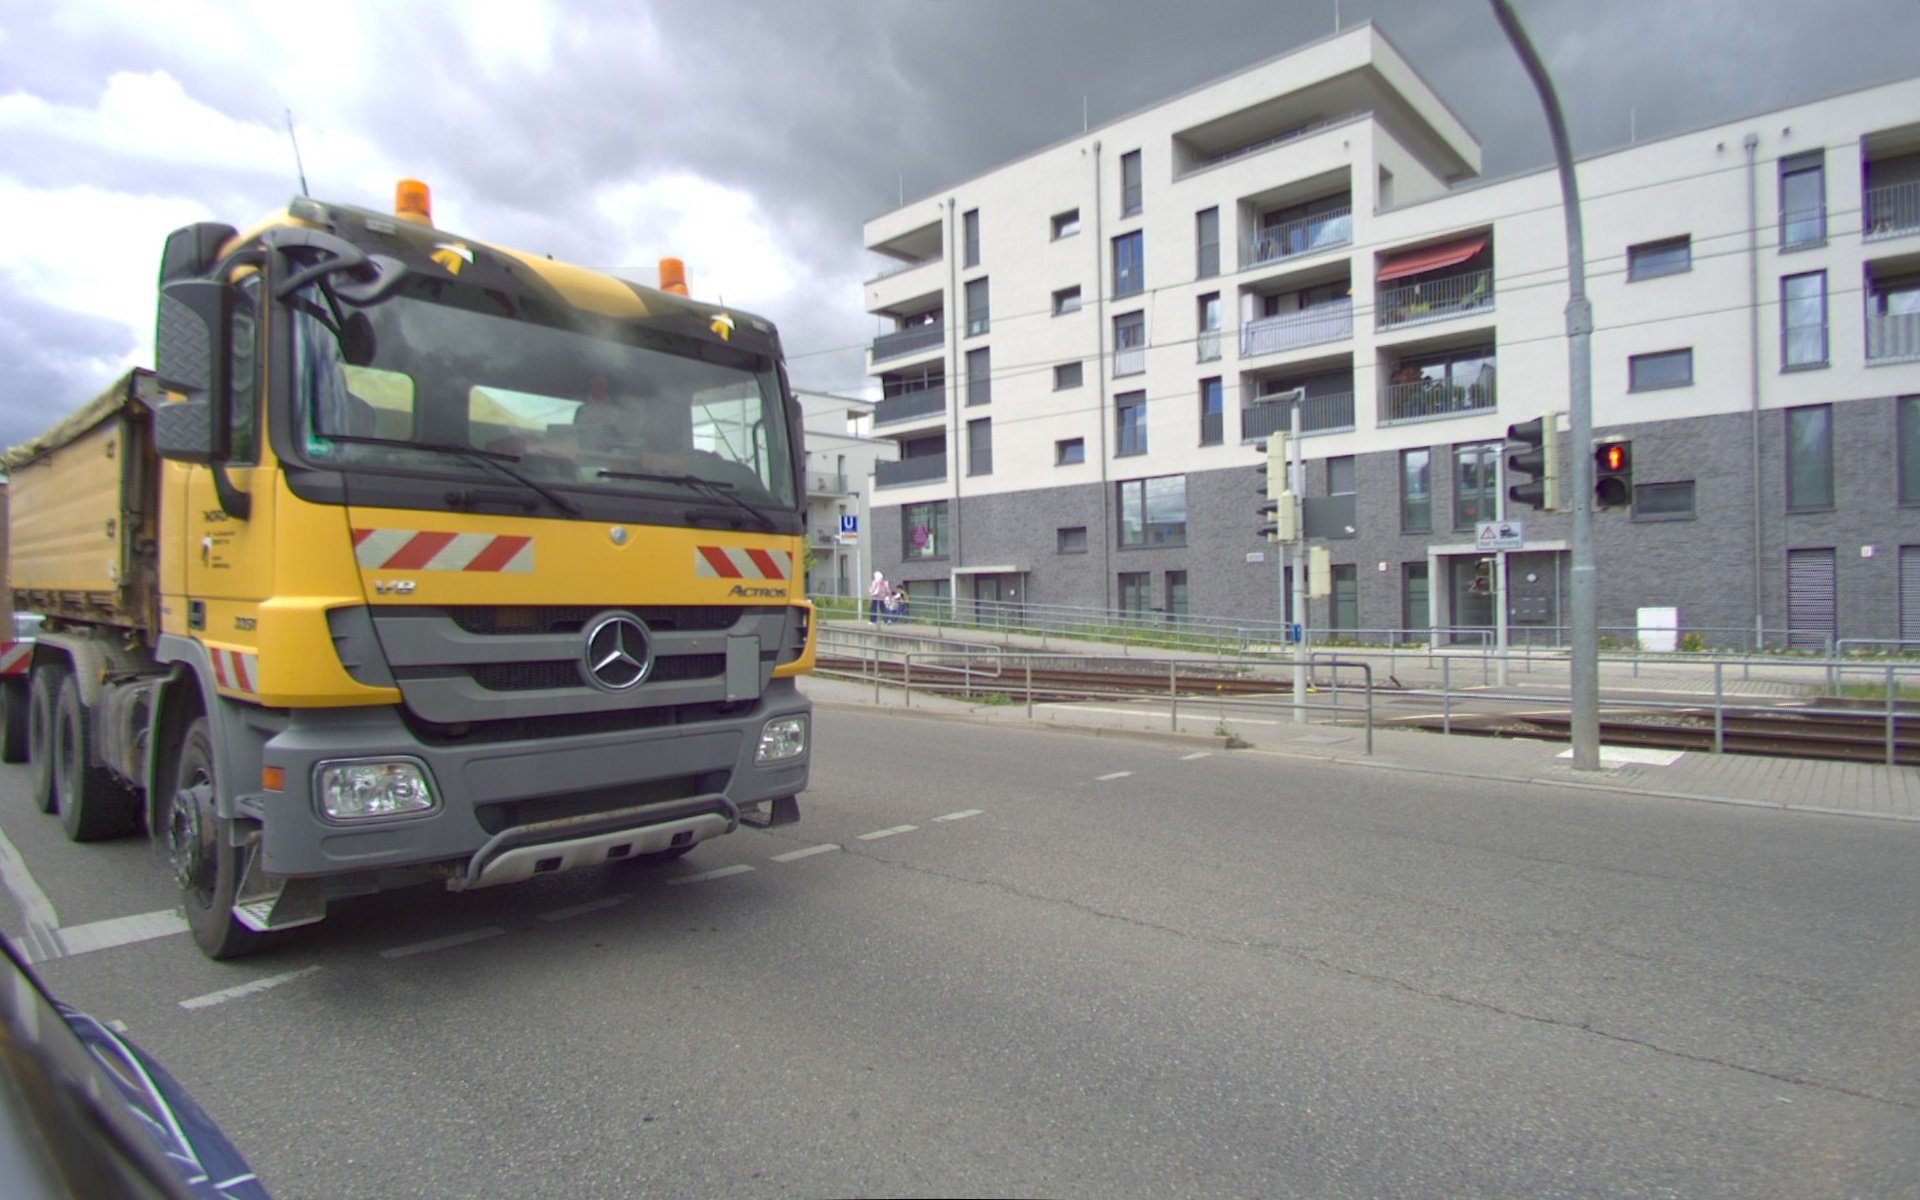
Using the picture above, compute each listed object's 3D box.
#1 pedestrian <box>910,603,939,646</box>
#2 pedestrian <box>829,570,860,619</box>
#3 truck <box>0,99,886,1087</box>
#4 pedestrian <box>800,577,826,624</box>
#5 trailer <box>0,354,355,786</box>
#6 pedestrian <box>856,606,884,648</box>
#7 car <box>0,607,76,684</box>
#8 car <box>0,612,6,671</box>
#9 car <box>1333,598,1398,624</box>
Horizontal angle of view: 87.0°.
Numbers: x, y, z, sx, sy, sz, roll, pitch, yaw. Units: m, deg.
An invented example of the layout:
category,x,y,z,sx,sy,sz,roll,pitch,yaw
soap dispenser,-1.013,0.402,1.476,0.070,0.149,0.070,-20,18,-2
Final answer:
category,x,y,z,sx,sy,sz,roll,pitch,yaw
pedestrian,-1.201,0.819,34.201,0.670,1.420,0.706,-1,-1,42
pedestrian,-4.028,-0.181,35.271,0.765,1.700,0.706,-1,-1,42
truck,-4.169,-0.035,6.703,7.776,3.026,2.691,0,0,42
pedestrian,-6.344,0.032,43.764,0.670,2.029,0.900,-1,-1,41
trailer,-11.118,-0.202,12.900,10.910,3.548,2.678,-1,0,42
pedestrian,-3.091,0.909,34.733,0.670,1.420,0.706,-1,-1,42
car,-20.521,0.928,21.900,4.000,1.490,1.670,0,1,43
car,-26.538,1.081,26.752,4.000,1.490,1.670,0,1,43
car,23.710,0.645,59.168,1.579,1.513,3.145,0,-1,-41
